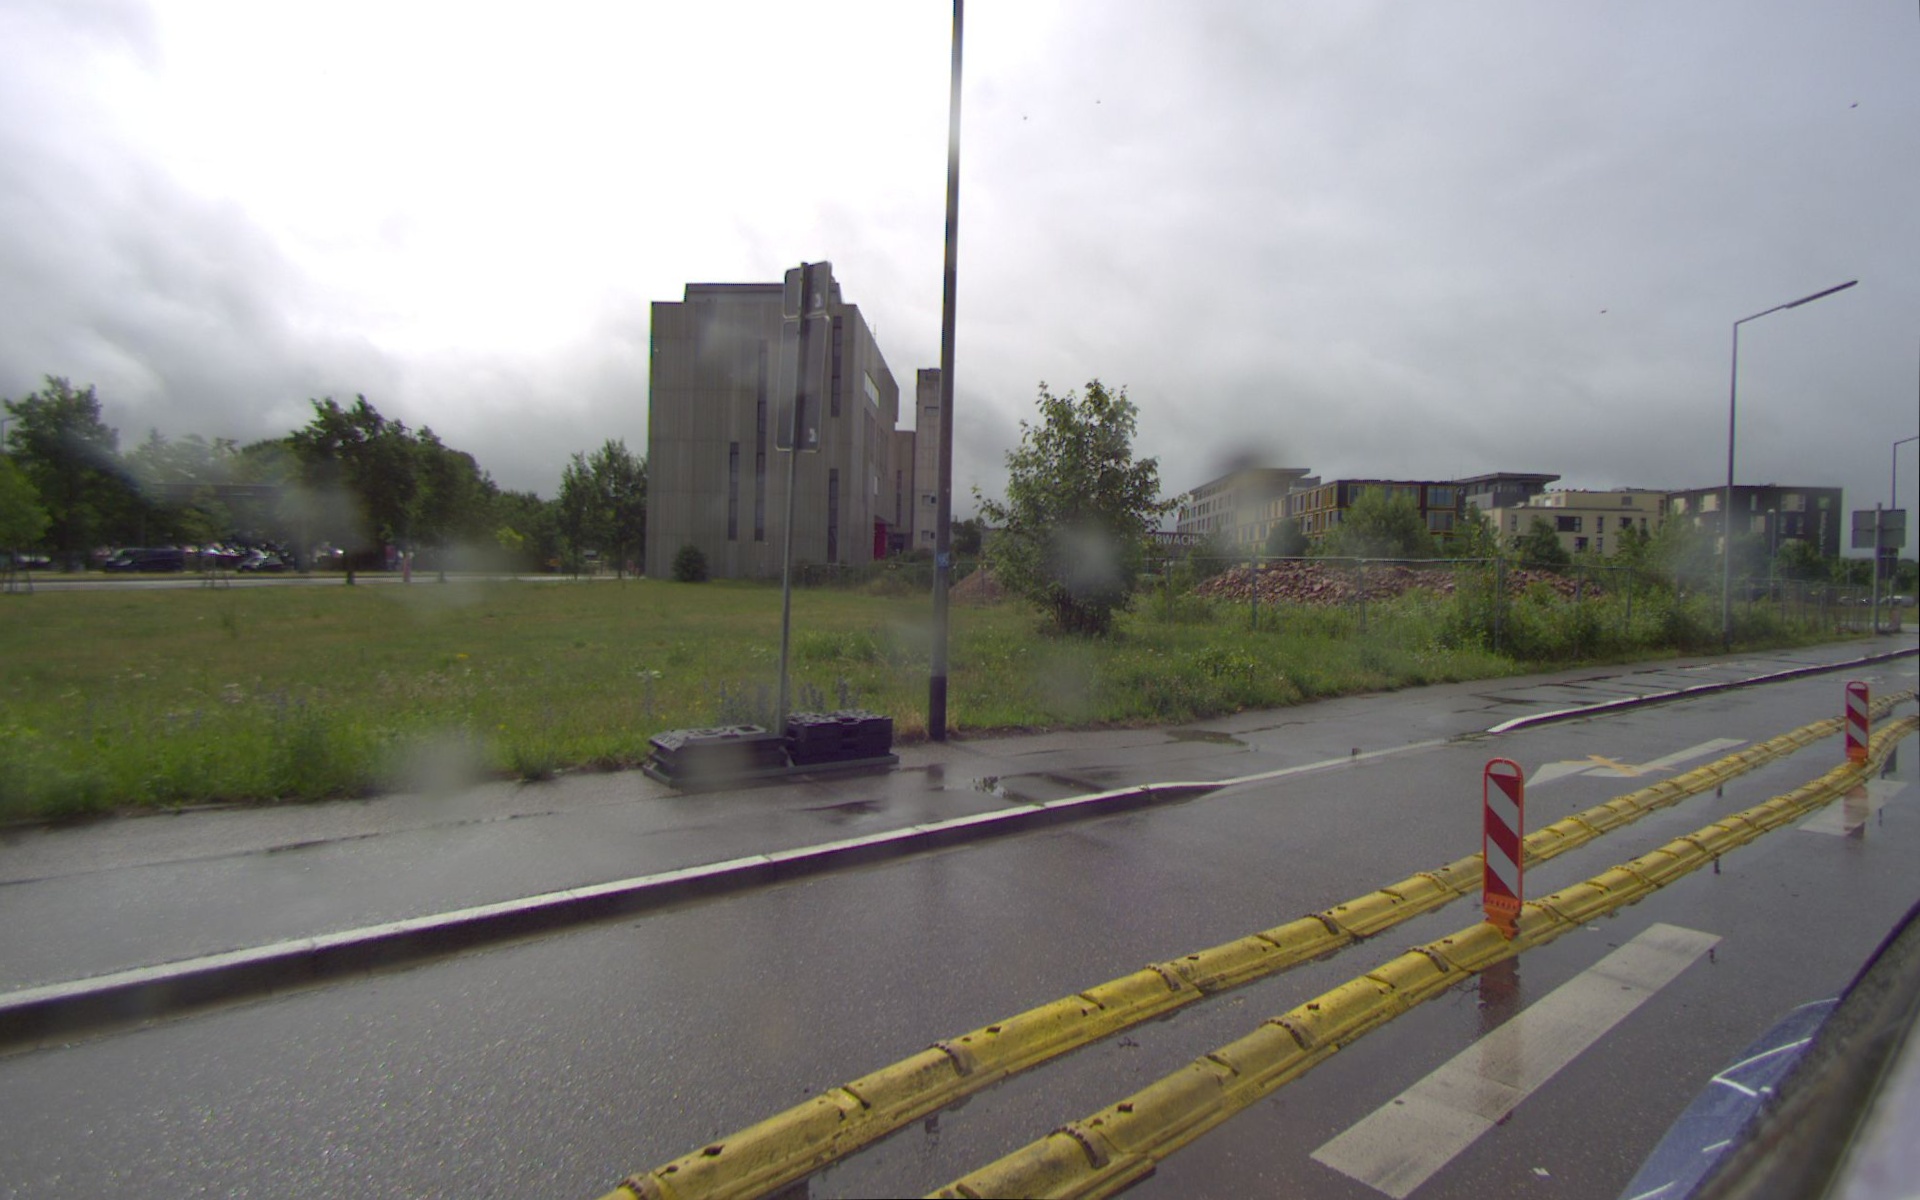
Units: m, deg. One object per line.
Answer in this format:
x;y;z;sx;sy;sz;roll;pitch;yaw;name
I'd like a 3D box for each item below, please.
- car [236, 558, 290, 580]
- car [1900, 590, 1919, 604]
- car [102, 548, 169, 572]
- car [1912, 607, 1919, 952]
-53.190;-2.376;77.280;1.515;1.578;3.521;1;1;3;car
142.054;-0.410;149.693;3.931;2.039;1.997;1;1;6;car
-55.861;-2.681;68.621;1.515;1.578;3.521;1;1;3;car
5.704;0.677;4.610;3.753;1.450;1.722;0;1;-43;car
